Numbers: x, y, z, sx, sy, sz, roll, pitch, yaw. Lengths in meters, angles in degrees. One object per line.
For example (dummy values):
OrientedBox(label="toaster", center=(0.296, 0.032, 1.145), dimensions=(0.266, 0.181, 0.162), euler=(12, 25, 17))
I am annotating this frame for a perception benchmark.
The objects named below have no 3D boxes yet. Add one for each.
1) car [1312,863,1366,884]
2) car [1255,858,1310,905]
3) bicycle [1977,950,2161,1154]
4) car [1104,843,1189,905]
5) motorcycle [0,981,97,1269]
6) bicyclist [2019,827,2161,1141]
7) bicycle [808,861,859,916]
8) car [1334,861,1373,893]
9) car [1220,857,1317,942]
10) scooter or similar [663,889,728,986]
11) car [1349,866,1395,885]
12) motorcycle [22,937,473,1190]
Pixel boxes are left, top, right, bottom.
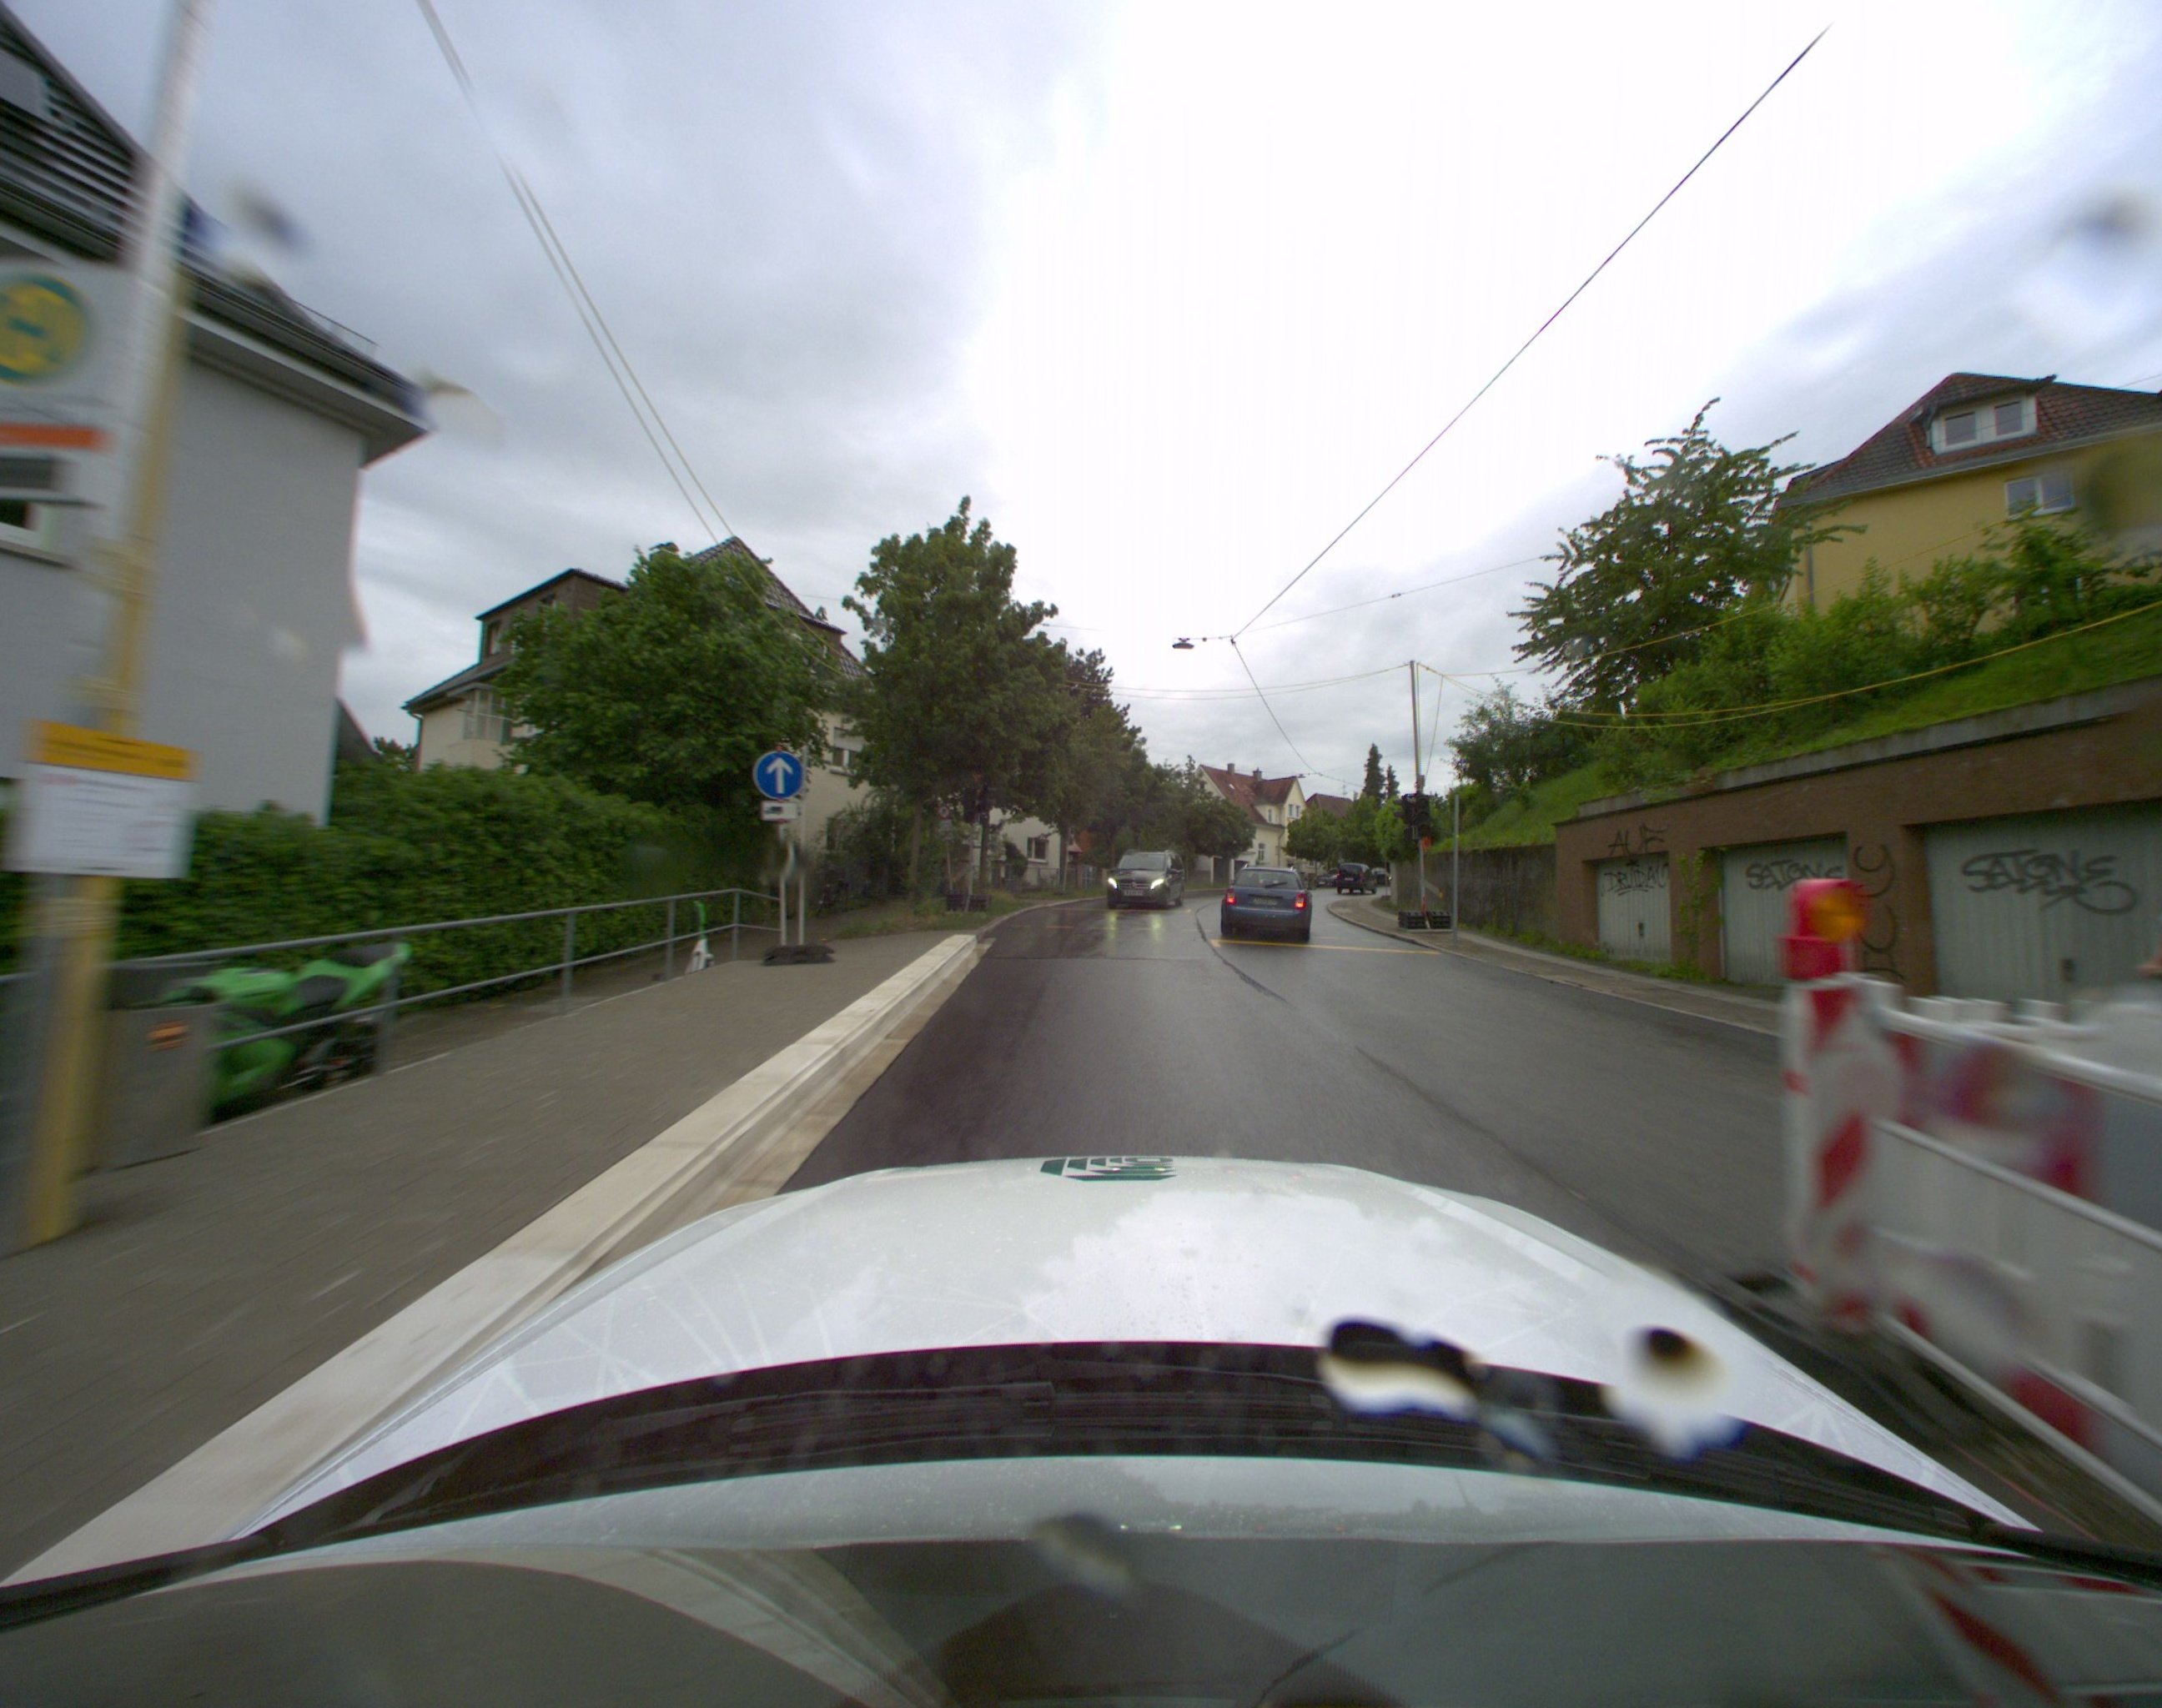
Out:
OrientedBox(label="car", center=(20.322, 1.535, 64.005), dimensions=(4.931, 1.545, 1.850), euler=(2, -2, -43))
OrientedBox(label="car", center=(8.051, 1.042, 32.622), dimensions=(1.961, 1.635, 4.251), euler=(-2, 0, 14))
OrientedBox(label="bicycle", center=(6.500, 1.092, 4.710), dimensions=(1.878, 0.981, 0.929), euler=(1, -1, -11))
OrientedBox(label="car", center=(2.303, 0.664, 27.190), dimensions=(1.883, 1.890, 5.173), euler=(-1, -1, 15))
OrientedBox(label="motorcycle", center=(-4.360, 1.053, 2.303), dimensions=(0.665, 1.036, 2.149), euler=(-1, 0, -5))
OrientedBox(label="bicyclist", center=(6.450, 0.726, 4.711), dimensions=(1.073, 1.729, 0.930), euler=(1, -1, -10))
OrientedBox(label="bicycle", center=(-6.243, 0.841, 20.670), dimensions=(0.489, 1.272, 2.274), euler=(2, 0, 2))
OrientedBox(label="car", center=(16.804, 1.359, 50.141), dimensions=(1.717, 1.768, 4.260), euler=(-1, 0, 25))
OrientedBox(label="car", center=(3.953, 0.866, 17.086), dimensions=(1.721, 1.466, 4.015), euler=(-2, 0, 14))
OrientedBox(label="scooter or similar", center=(-4.707, 0.994, 9.996), dimensions=(0.323, 1.080, 1.094), euler=(-1, -1, -4))
OrientedBox(label="car", center=(24.098, 1.793, 67.335), dimensions=(4.231, 1.545, 1.718), euler=(2, -2, -40))
OrientedBox(label="motorcycle", center=(-4.556, 1.056, 4.731), dimensions=(0.665, 0.933, 2.007), euler=(-1, 0, -5))
